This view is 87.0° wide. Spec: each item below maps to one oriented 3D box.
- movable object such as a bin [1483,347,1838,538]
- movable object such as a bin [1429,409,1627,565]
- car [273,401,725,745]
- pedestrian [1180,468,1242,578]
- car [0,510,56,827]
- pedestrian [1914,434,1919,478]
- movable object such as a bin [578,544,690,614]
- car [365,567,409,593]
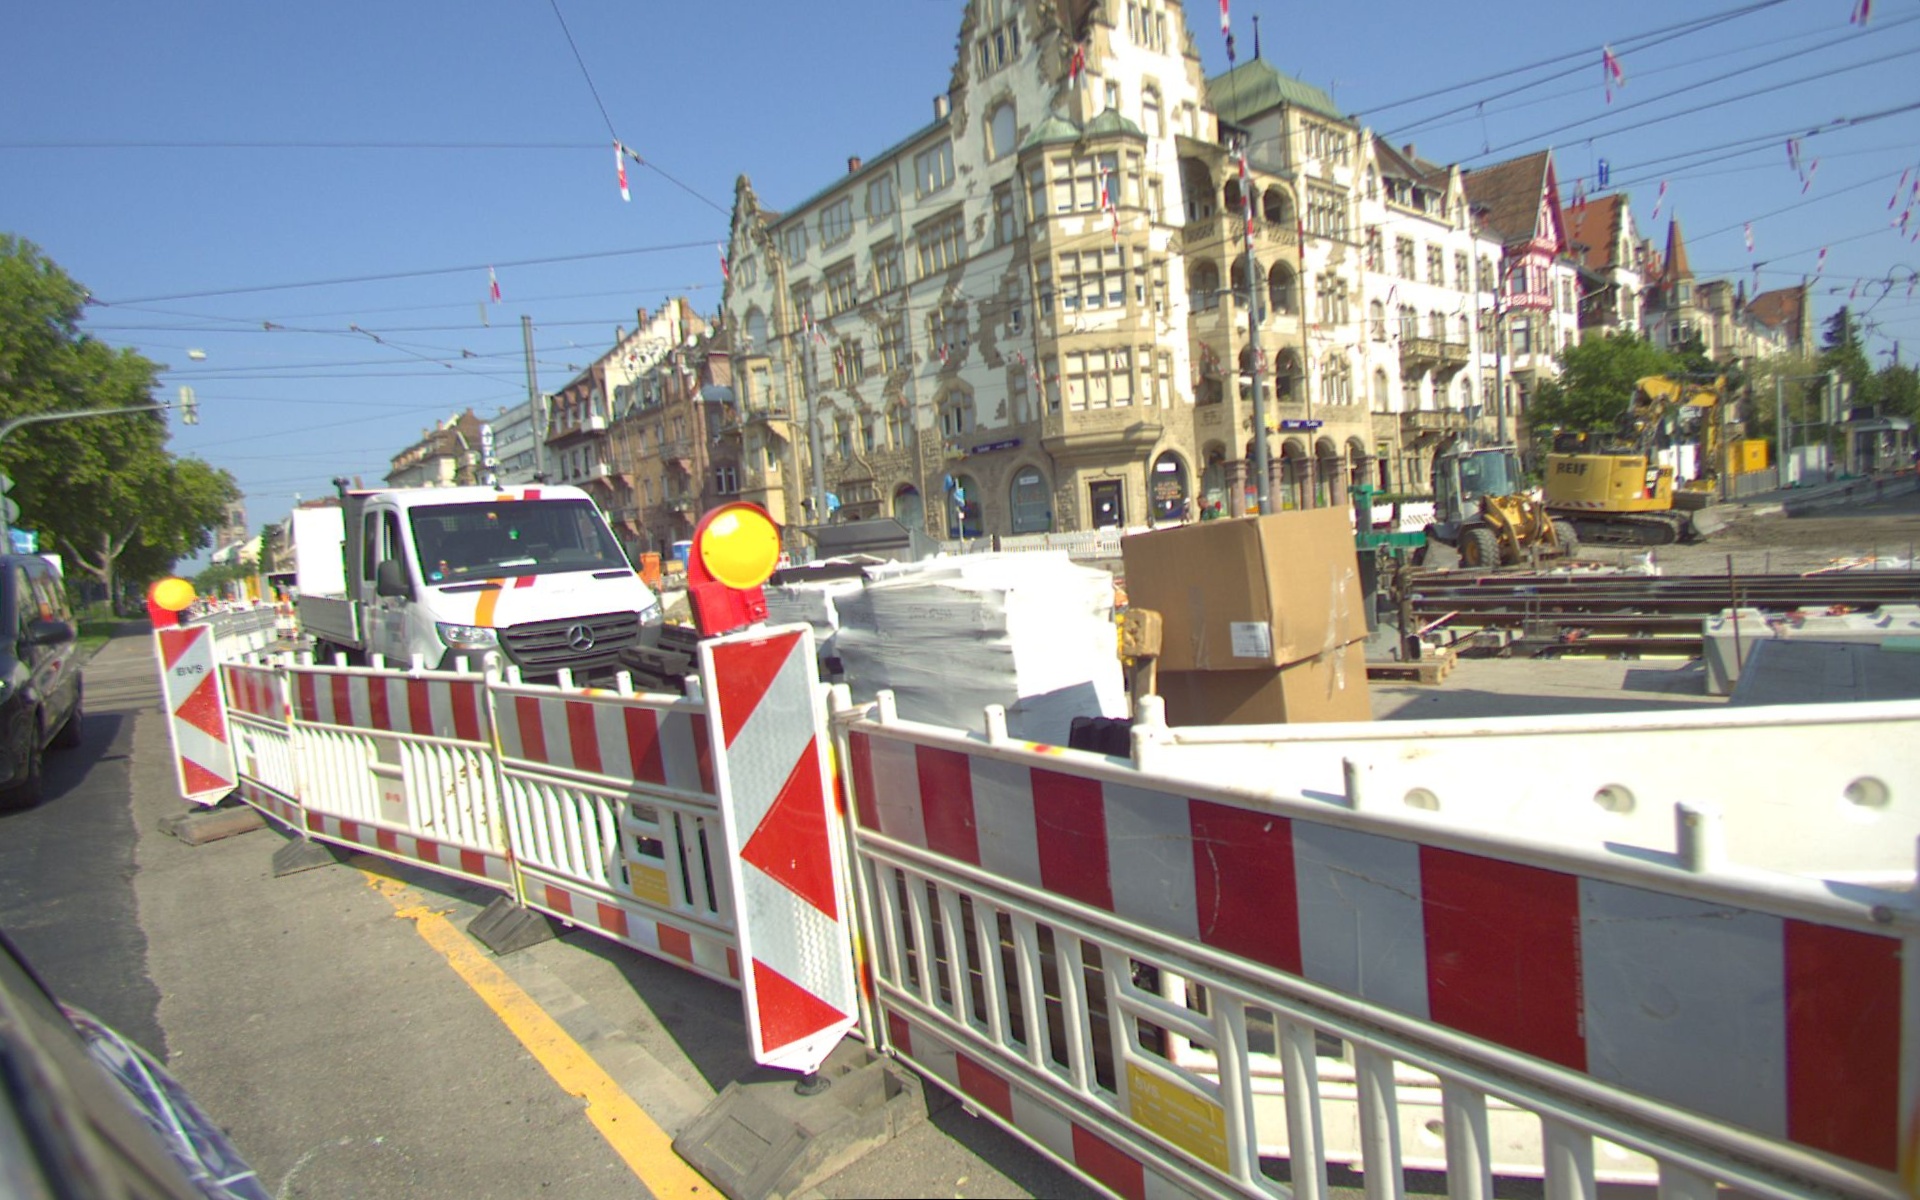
[{"bbox_3d":[18.991,-4.167,27.554,7.257,4.377,4.986,-6,5,-26],"label":"movable object such as a bin"},{"bbox_3d":[12.268,-2.394,22.292,2.425,2.854,4.798,-4,4,13],"label":"movable object such as a bin"},{"bbox_3d":[-5.267,-0.283,10.610,2.181,2.441,7.210,-7,5,-41],"label":"car"},{"bbox_3d":[4.631,-1.410,18.682,0.711,1.926,0.791,-5,3,-15],"label":"pedestrian"},{"bbox_3d":[-7.595,0.416,6.891,1.825,1.900,4.187,-4,2,-39],"label":"car"},{"bbox_3d":[44.284,-6.633,46.395,0.635,2.028,0.672,-3,4,30],"label":"pedestrian"},{"bbox_3d":[-8.332,-0.528,25.746,1.580,1.570,3.293,-7,4,-37],"label":"movable object such as a bin"},{"bbox_3d":[-54.307,-1.833,95.876,2.332,2.150,7.135,-7,5,-39],"label":"car"}]
